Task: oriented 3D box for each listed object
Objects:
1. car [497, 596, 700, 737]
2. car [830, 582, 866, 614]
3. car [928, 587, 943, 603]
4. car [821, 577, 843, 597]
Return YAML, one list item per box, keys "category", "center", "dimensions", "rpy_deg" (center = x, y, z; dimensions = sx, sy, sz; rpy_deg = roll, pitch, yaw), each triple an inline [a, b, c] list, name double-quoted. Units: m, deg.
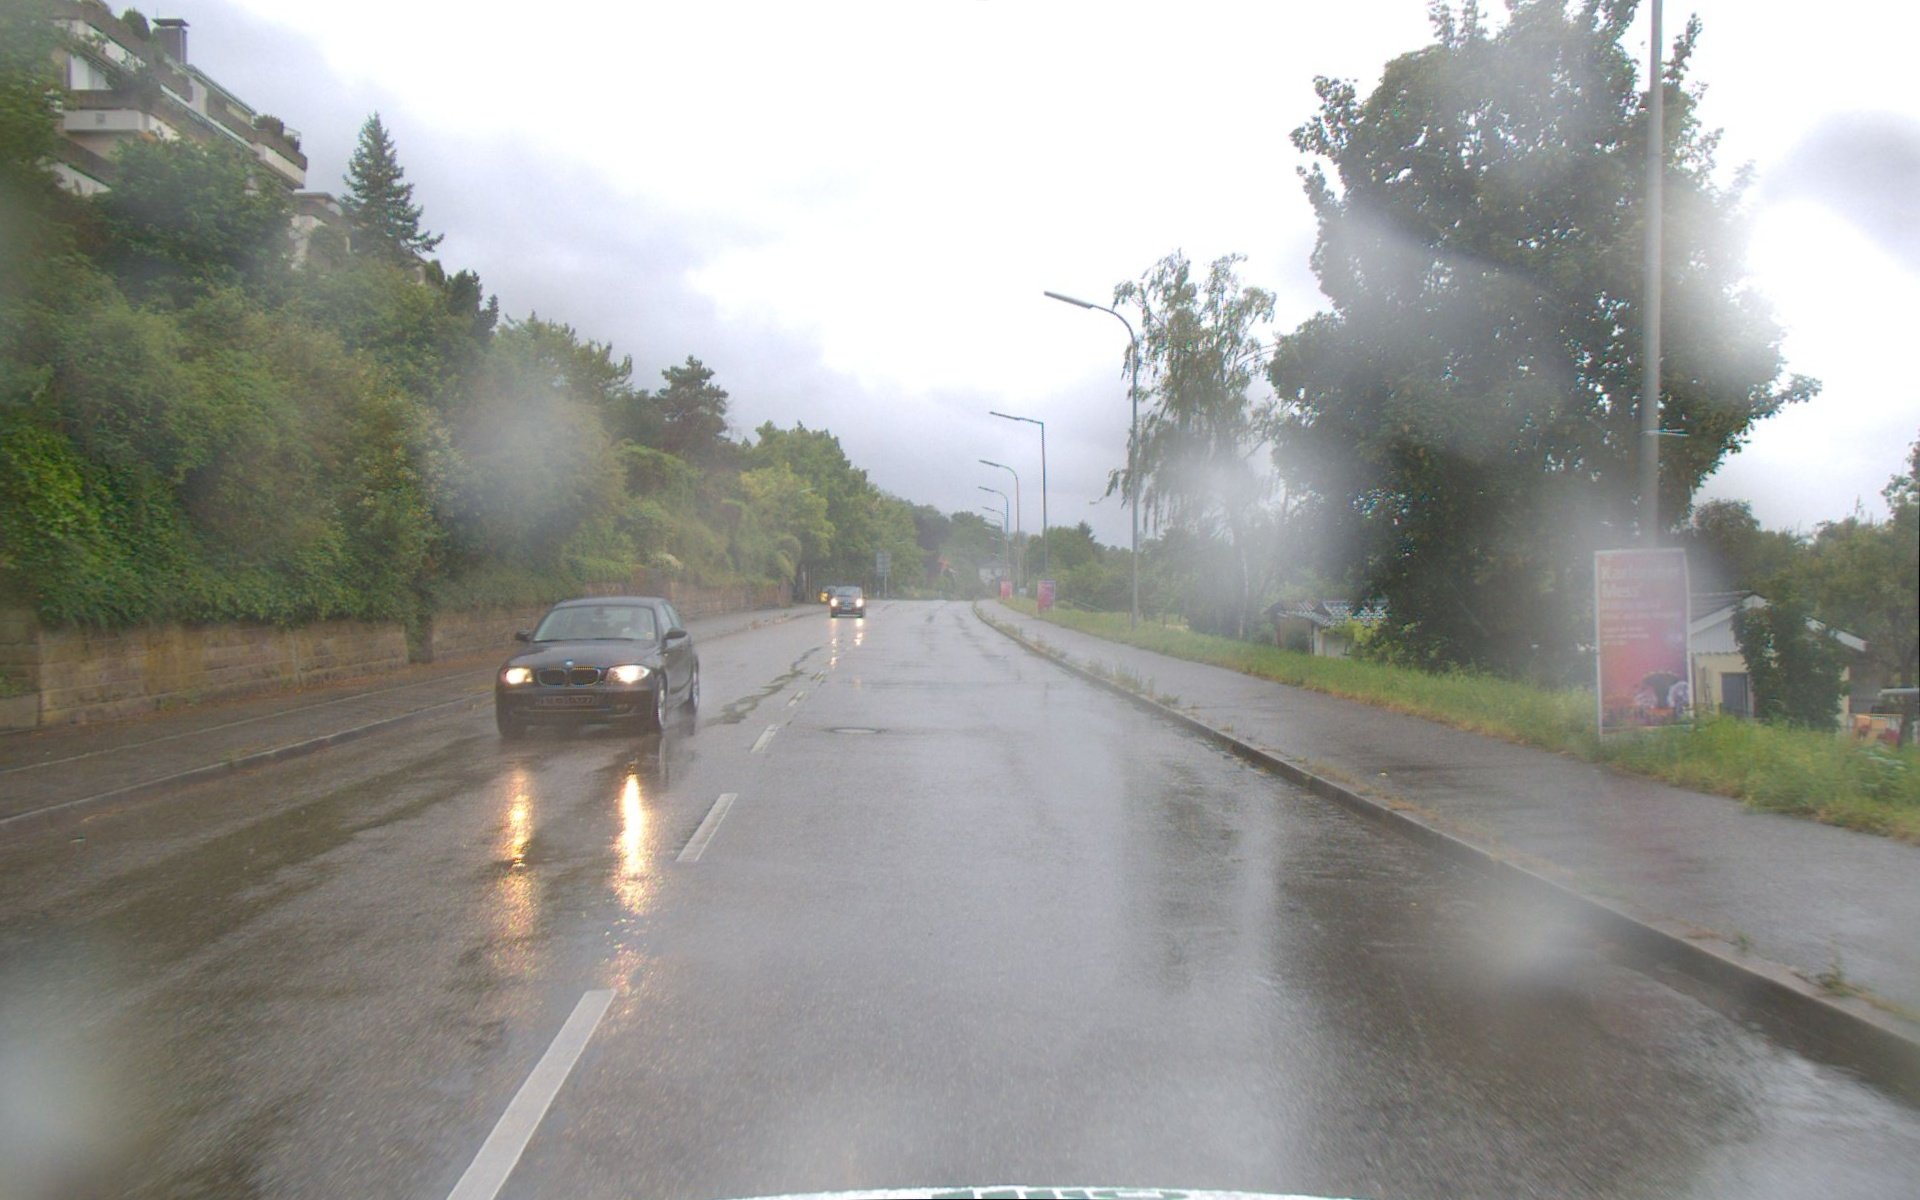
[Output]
- category: "car"
  center: [-3.916, 0.652, 18.488]
  dimensions: [1.622, 1.375, 3.984]
  rpy_deg: [-1, 0, -4]
- category: "car"
  center: [-5.657, -0.106, 83.734]
  dimensions: [1.725, 1.522, 4.125]
  rpy_deg: [-1, 0, -3]
- category: "car"
  center: [-3.226, -0.647, 218.312]
  dimensions: [1.953, 2.049, 3.999]
  rpy_deg: [0, 0, -2]
- category: "car"
  center: [-9.887, -0.977, 127.862]
  dimensions: [1.693, 1.522, 3.984]
  rpy_deg: [-1, 0, -4]
